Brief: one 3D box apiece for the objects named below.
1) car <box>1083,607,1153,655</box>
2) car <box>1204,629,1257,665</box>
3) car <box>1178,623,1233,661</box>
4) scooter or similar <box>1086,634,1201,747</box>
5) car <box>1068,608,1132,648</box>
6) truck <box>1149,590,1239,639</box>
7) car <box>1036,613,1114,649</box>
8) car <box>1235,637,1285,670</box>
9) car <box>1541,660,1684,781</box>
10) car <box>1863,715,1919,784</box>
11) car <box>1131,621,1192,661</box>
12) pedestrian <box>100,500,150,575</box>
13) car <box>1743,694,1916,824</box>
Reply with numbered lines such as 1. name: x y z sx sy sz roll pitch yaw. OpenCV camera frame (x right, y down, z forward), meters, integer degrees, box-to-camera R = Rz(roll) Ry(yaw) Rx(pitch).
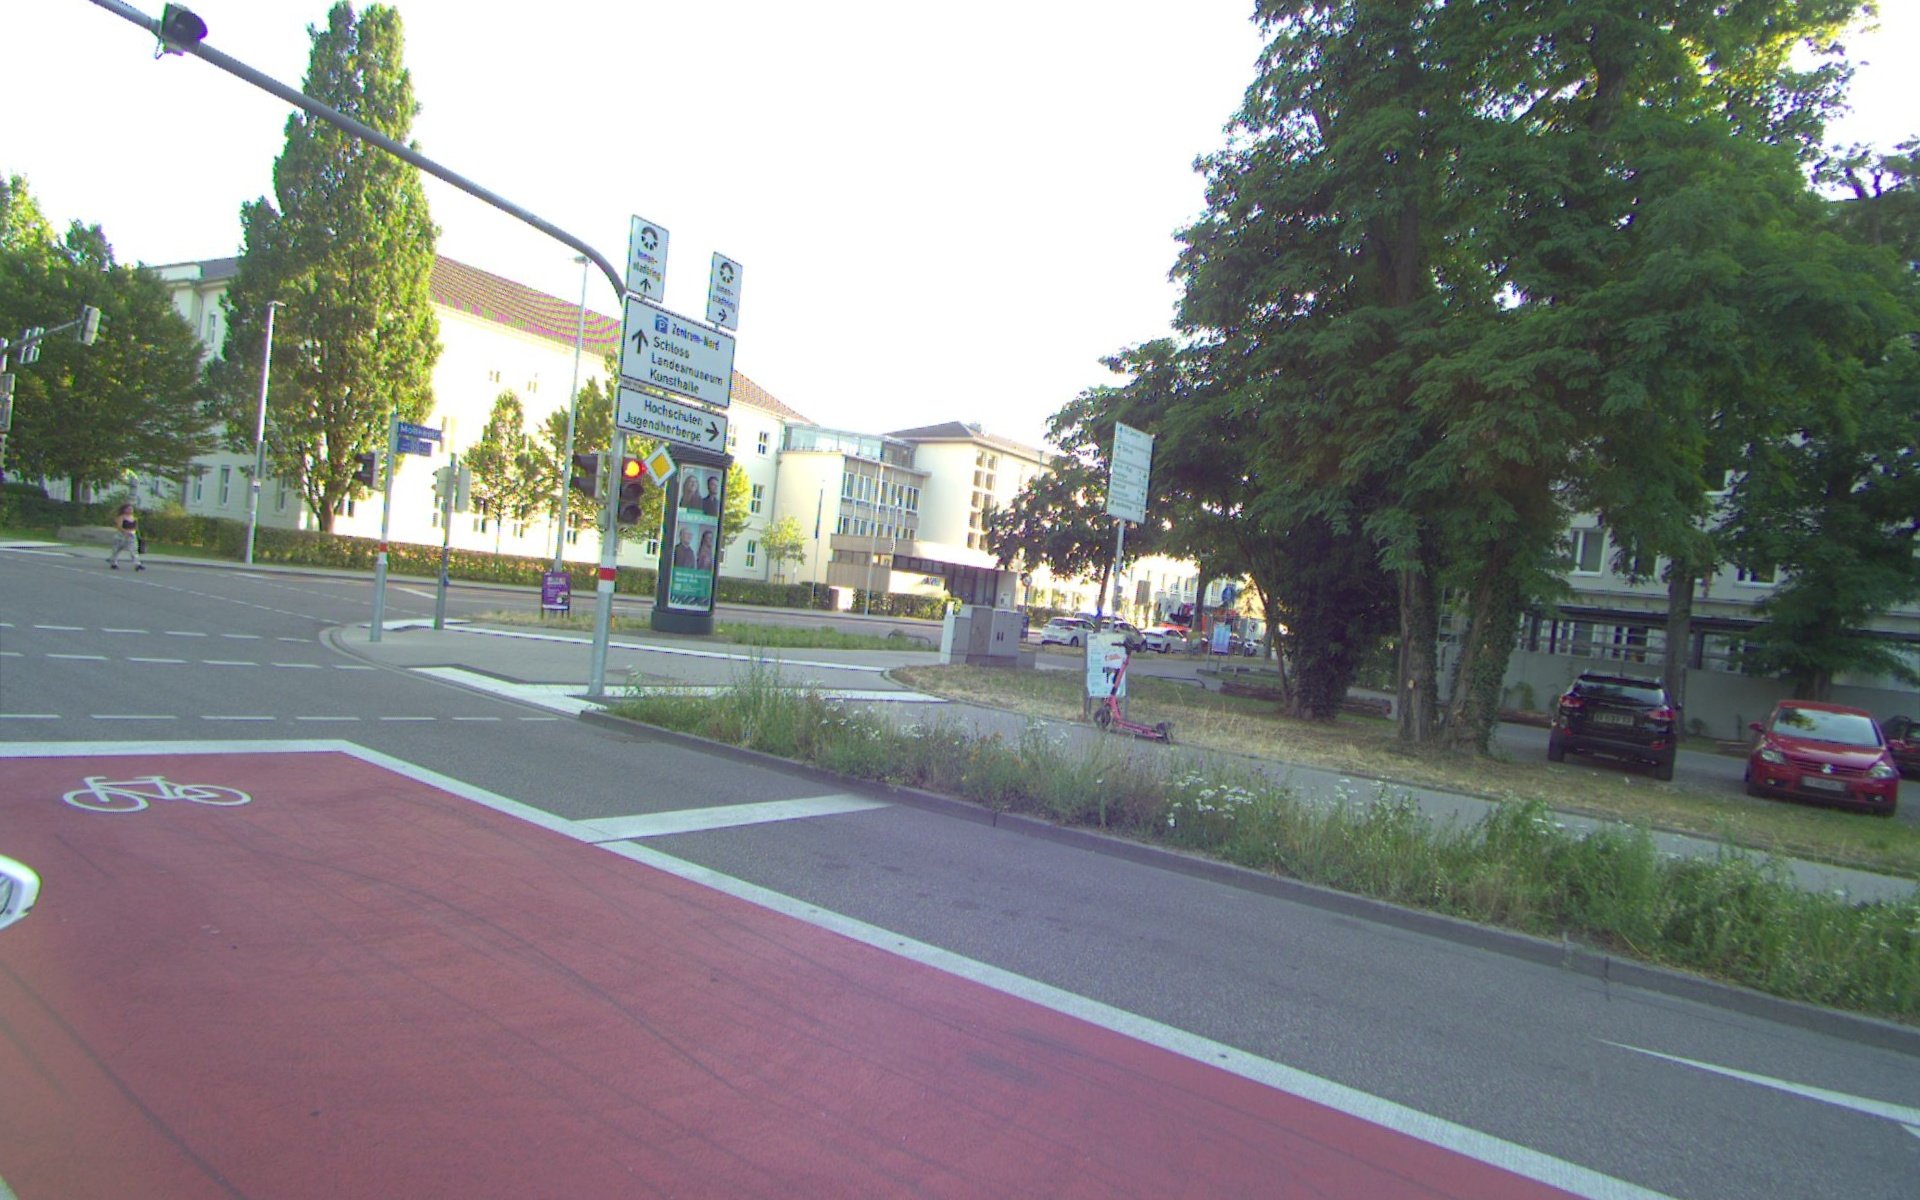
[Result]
1. car: 8.064 1.586 51.188 1.713 2.038 3.988 7 -1 36
2. car: 17.221 3.033 63.857 1.789 1.893 4.136 7 -1 35
3. car: 14.606 2.497 59.728 1.698 1.879 3.989 7 -1 35
4. scooter or similar: 2.326 1.136 12.807 1.289 1.247 0.311 7 1 32
5. car: 7.732 1.565 55.221 1.720 1.783 3.989 7 -1 35
6. truck: 15.860 1.063 67.462 2.327 2.315 10.049 7 -1 34
7. car: 5.476 1.493 47.707 1.793 1.358 3.985 6 0 37
8. car: 20.371 3.659 68.235 1.873 1.831 3.988 7 -1 36
9. car: 11.762 2.111 18.063 1.808 1.715 3.899 7 -1 36
10. car: 23.177 3.622 24.031 1.873 1.459 3.987 7 -1 37
11. car: 11.072 2.271 55.105 1.720 1.783 3.989 7 -1 35
12. pedestrian: -19.805 -1.476 23.853 0.680 1.656 0.600 7 1 32
13. car: 13.991 2.454 16.402 1.759 1.581 3.984 7 0 38
